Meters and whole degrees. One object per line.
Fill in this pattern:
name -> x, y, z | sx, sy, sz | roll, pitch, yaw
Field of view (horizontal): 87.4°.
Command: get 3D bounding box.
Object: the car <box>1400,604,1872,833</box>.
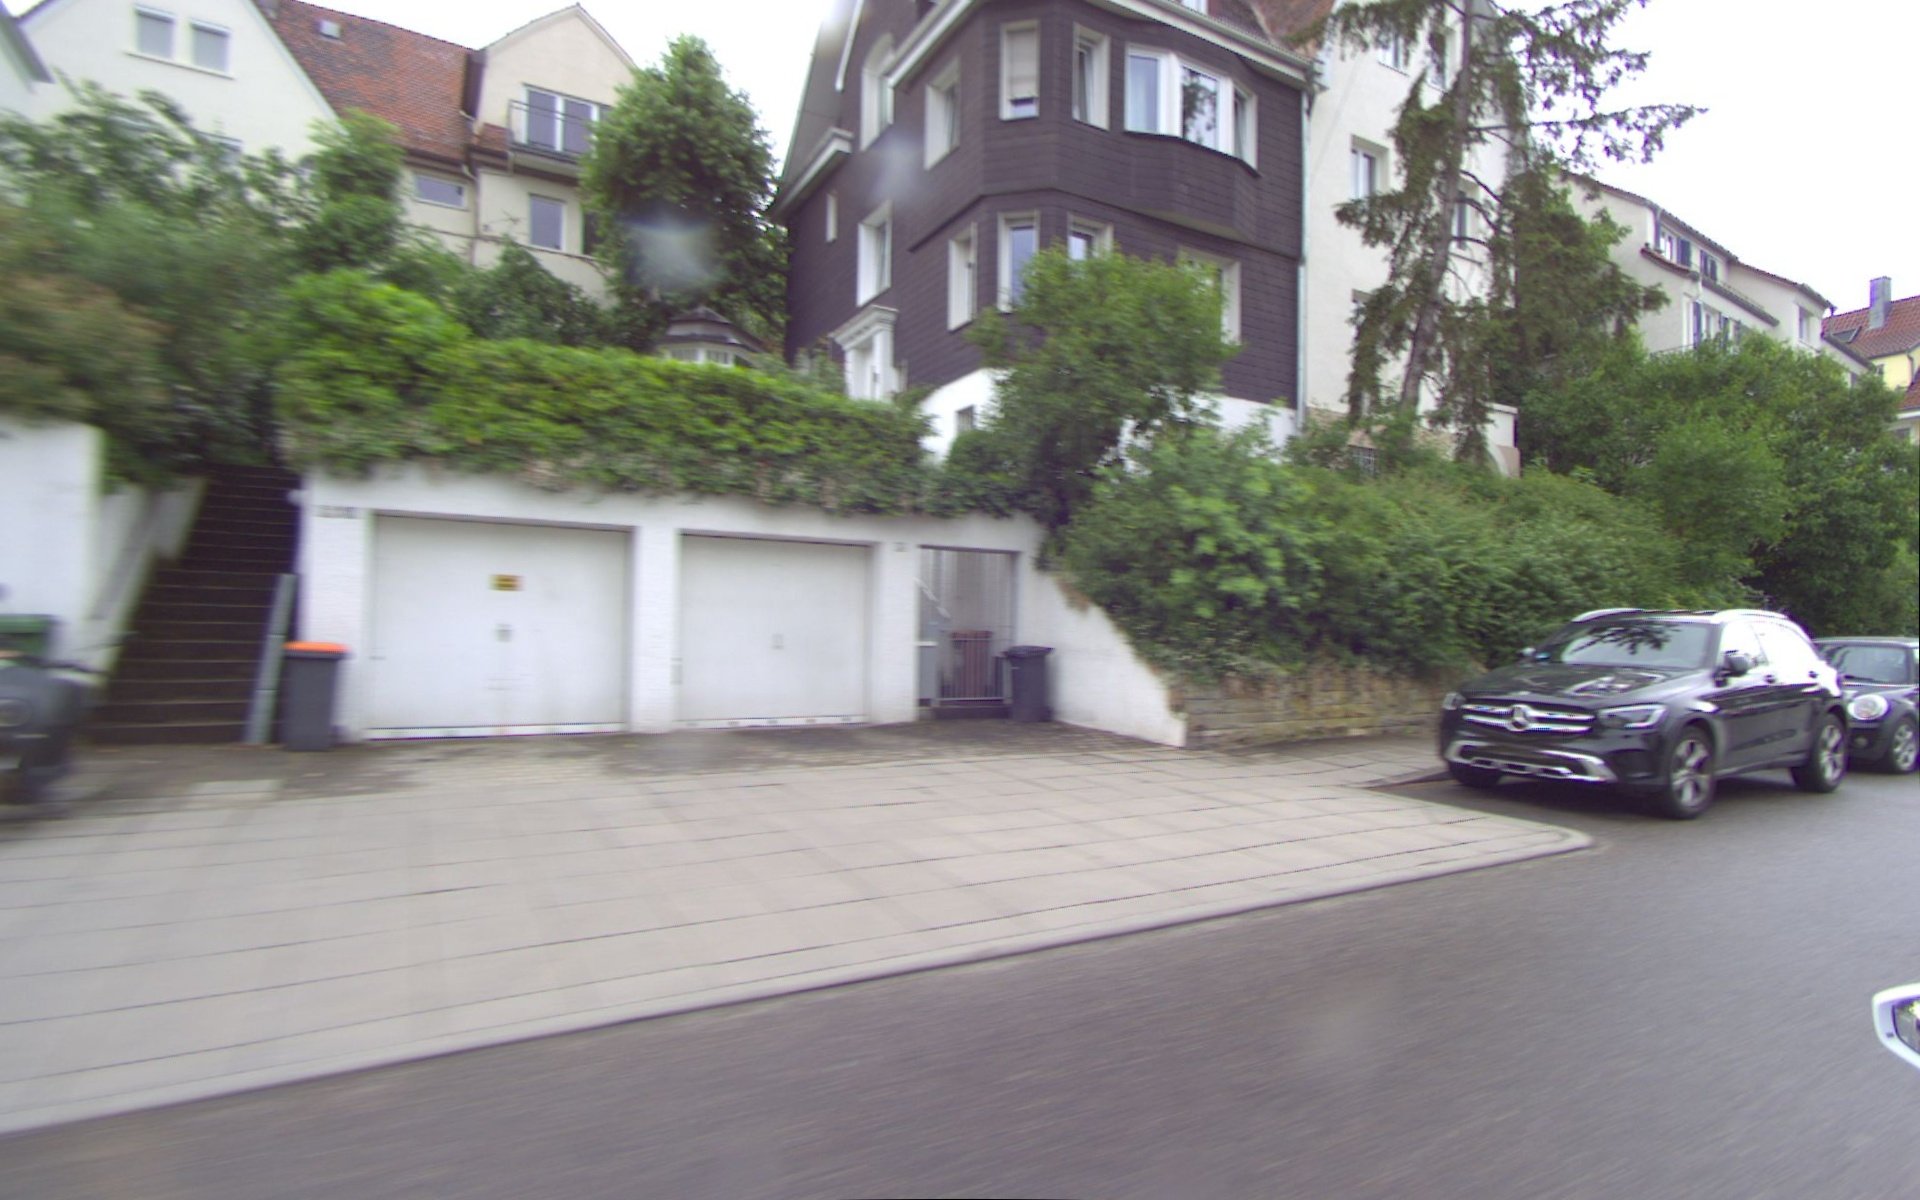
car -> 6.214, 0.907, 9.131 | 4.328, 1.644, 1.884 | 2, -1, -31

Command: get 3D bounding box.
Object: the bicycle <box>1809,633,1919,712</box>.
bicycle -> 16.774, 1.298, 18.536 | 2.263, 1.318, 0.999 | 0, 0, -30

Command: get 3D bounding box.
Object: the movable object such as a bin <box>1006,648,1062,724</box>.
movable object such as a bin -> 0.925, 1.057, 12.543 | 0.609, 0.901, 0.488 | 0, 0, 16

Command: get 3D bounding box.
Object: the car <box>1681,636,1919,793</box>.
car -> 10.540, 1.217, 11.921 | 3.769, 1.466, 1.884 | 0, 0, -30

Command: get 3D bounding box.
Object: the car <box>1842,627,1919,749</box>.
car -> 14.115, 1.201, 13.969 | 3.769, 1.561, 1.688 | 2, -1, -31

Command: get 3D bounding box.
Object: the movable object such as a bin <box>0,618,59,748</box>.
movable object such as a bin -> -7.349, 0.623, 7.750 | 0.508, 0.966, 0.570 | 0, 0, -34

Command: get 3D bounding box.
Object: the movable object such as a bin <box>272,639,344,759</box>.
movable object such as a bin -> -5.671, 0.838, 8.741 | 0.508, 0.966, 0.570 | 0, 0, -34

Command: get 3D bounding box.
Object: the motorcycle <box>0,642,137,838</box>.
motorcycle -> -5.541, 0.771, 6.040 | 0.596, 0.915, 1.785 | 2, 1, -29
